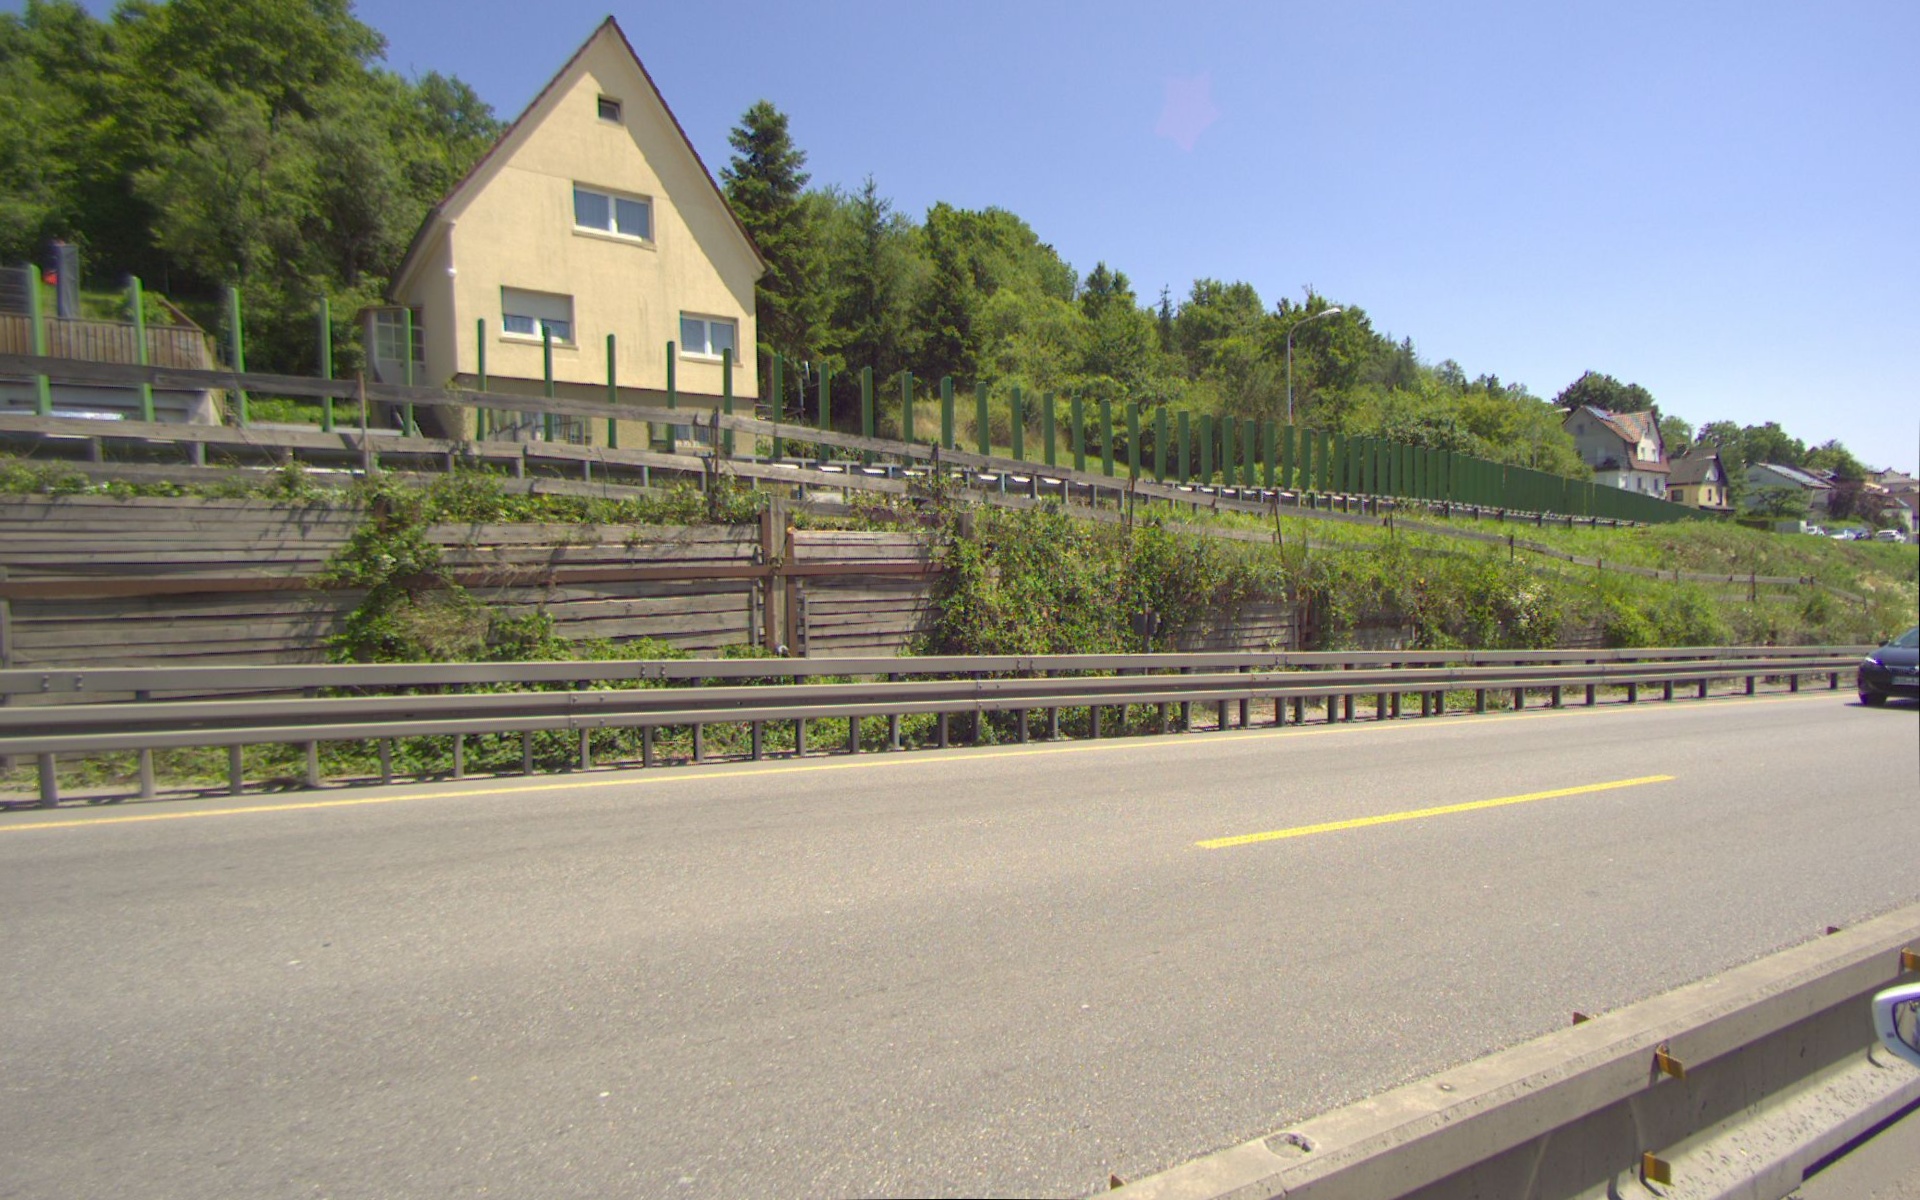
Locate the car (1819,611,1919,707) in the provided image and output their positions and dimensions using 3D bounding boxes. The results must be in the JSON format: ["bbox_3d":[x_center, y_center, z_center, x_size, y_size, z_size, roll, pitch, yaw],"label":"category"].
[{"bbox_3d":[17.051,1.008,17.395,4.950,1.467,1.804,2,1,-31],"label":"car"}]

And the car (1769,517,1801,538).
[{"bbox_3d":[65.444,-5.724,79.673,1.708,1.417,3.780,3,2,42],"label":"car"}]

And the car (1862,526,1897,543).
[{"bbox_3d":[90.455,-6.442,98.827,3.968,1.337,1.976,1,3,-41],"label":"car"}]
